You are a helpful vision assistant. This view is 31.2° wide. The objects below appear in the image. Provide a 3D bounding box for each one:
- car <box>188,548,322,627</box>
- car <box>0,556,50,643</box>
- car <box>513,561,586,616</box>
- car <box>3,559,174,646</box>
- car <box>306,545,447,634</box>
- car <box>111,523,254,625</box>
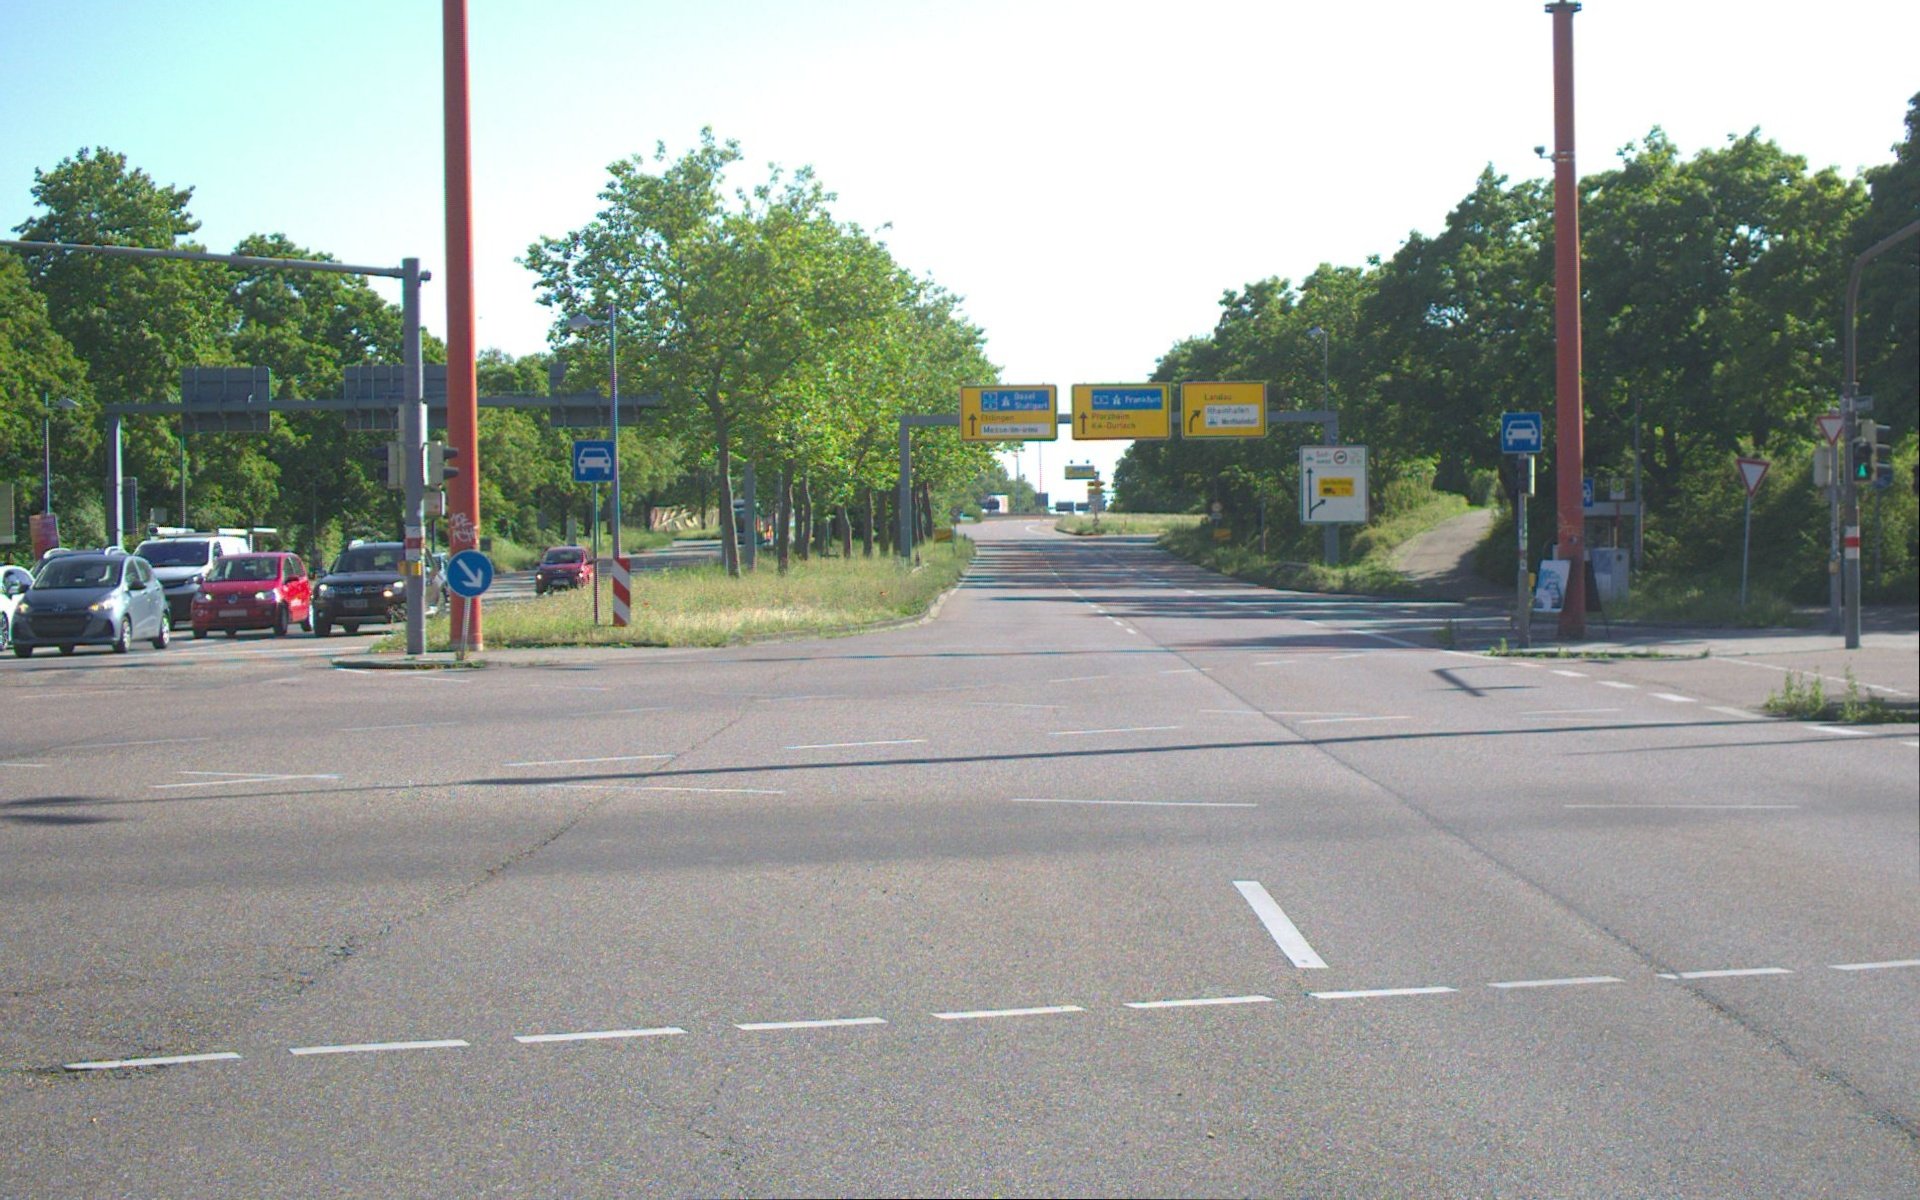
[{"bbox_3d":[-12.624,-0.251,61.745,1.739,1.357,3.613,-1,1,-1],"label":"car"},{"bbox_3d":[-16.420,-0.018,57.058,1.739,1.406,3.613,-1,1,-1],"label":"car"},{"bbox_3d":[-12.691,-0.375,106.534,1.819,1.623,4.000,-1,1,-1],"label":"car"},{"bbox_3d":[-13.112,0.014,51.913,1.739,1.239,3.613,-1,1,-1],"label":"car"},{"bbox_3d":[-10.181,-0.210,60.259,1.819,1.503,4.000,-1,1,-1],"label":"car"},{"bbox_3d":[-15.959,-0.546,70.801,1.893,2.019,5.224,0,1,-1],"label":"car"}]
